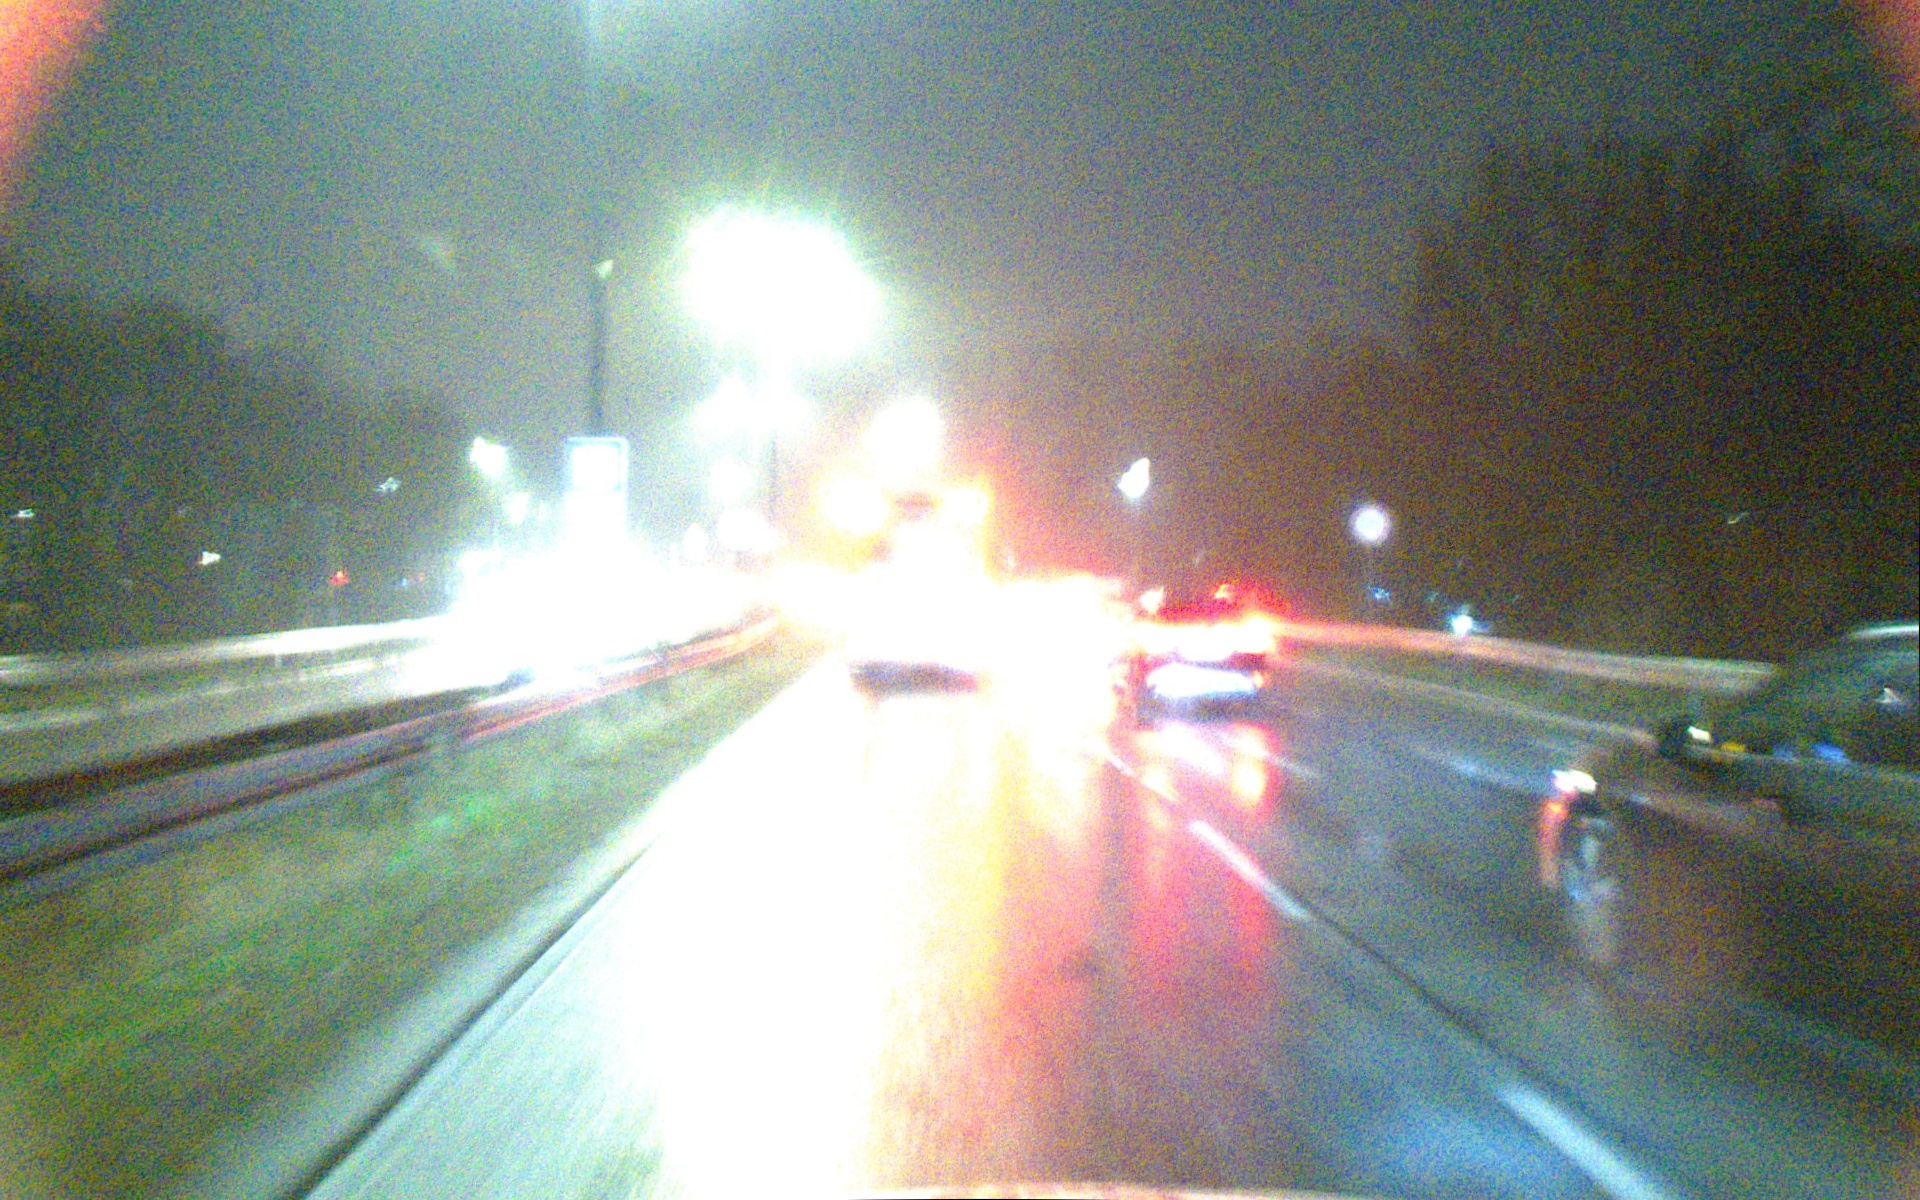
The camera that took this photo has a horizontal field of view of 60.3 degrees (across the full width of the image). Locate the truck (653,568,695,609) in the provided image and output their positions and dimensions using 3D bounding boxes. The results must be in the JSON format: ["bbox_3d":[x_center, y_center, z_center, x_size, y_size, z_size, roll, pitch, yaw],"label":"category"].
[{"bbox_3d":[-18.866,-0.783,109.014,1.829,2.434,4.750,-2,4,-21],"label":"truck"}]

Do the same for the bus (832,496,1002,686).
[{"bbox_3d":[-0.951,-0.159,31.359,2.759,3.077,8.681,0,0,-3],"label":"bus"}]

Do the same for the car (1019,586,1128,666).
[{"bbox_3d":[2.391,0.518,35.775,1.784,1.618,3.773,-1,0,-5],"label":"car"}]

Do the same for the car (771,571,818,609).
[{"bbox_3d":[-9.522,-0.555,94.809,1.961,2.049,3.982,1,0,-16],"label":"car"}]

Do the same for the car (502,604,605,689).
[{"bbox_3d":[-8.782,0.957,35.999,1.589,1.680,3.995,-1,0,-6],"label":"car"}]

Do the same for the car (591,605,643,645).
[{"bbox_3d":[-15.549,1.109,75.193,1.774,1.595,3.996,-4,1,-5],"label":"car"}]

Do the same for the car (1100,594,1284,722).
[{"bbox_3d":[3.096,0.729,22.783,1.705,1.592,3.773,1,0,-5],"label":"car"}]

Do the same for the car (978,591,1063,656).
[{"bbox_3d":[1.538,0.581,43.448,1.784,1.618,3.773,-1,0,-5],"label":"car"}]

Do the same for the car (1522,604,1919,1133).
[{"bbox_3d":[3.544,0.778,5.239,1.697,1.474,4.722,1,0,-3],"label":"car"}]

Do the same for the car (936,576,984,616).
[{"bbox_3d":[-0.022,-0.158,67.337,1.744,1.570,3.872,1,0,-3],"label":"car"}]

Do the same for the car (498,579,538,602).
[{"bbox_3d":[-36.860,-0.817,137.968,1.977,1.715,3.952,2,1,-35],"label":"car"}]

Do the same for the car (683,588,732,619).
[{"bbox_3d":[-17.011,0.223,111.363,2.185,2.049,3.966,-1,0,-26],"label":"car"}]

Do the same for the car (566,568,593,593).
[{"bbox_3d":[-32.365,-1.610,140.659,2.086,2.049,3.985,1,0,-14],"label":"car"}]

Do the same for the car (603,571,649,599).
[{"bbox_3d":[-25.163,-1.093,124.589,1.978,2.049,3.949,1,-1,-36],"label":"car"}]
